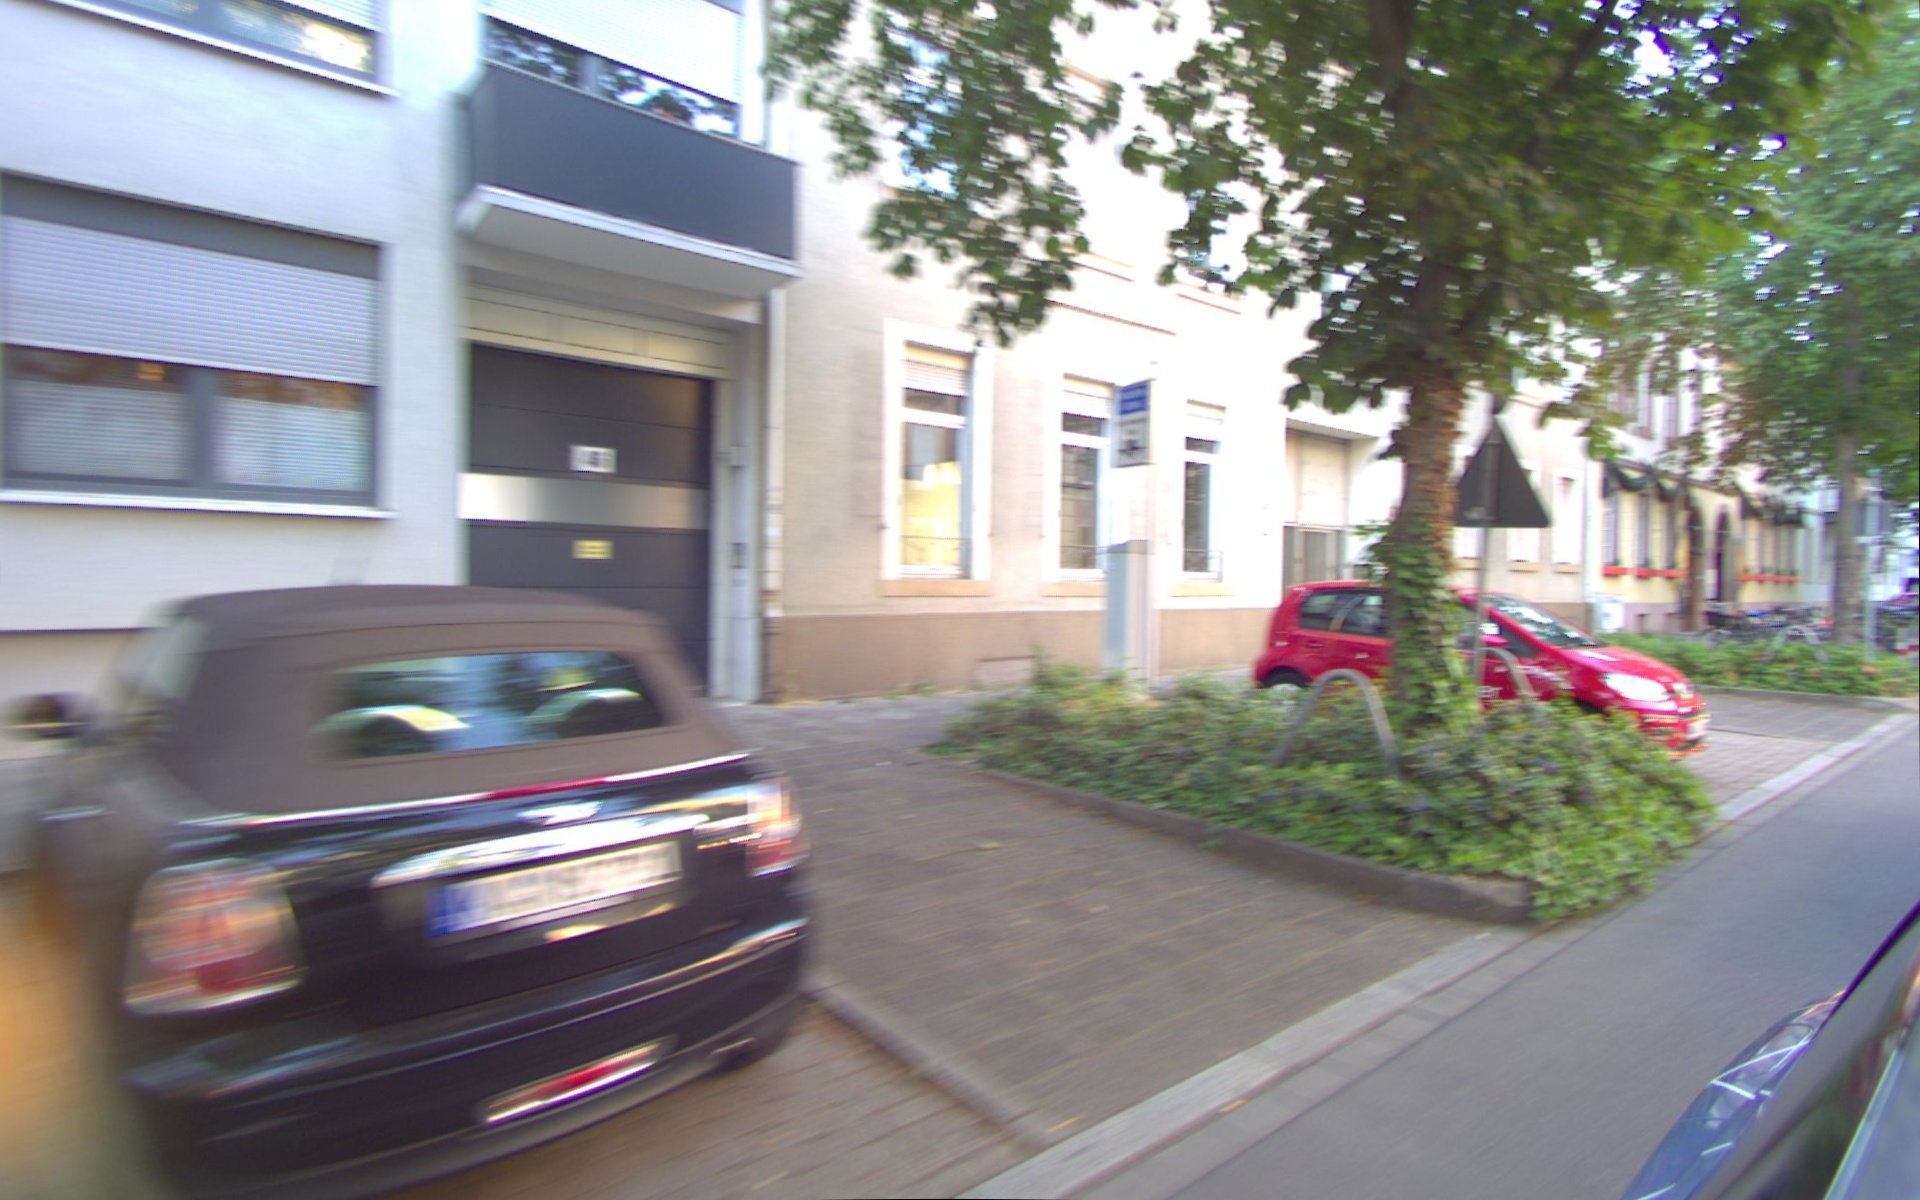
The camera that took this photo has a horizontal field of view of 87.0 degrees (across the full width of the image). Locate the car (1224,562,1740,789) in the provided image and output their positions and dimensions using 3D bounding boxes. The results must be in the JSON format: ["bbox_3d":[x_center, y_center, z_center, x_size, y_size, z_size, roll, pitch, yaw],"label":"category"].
[{"bbox_3d":[4.433,0.477,8.996,1.725,1.572,3.727,-1,1,-42],"label":"car"}]

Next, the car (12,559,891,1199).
[{"bbox_3d":[-2.124,0.605,3.537,1.685,1.428,3.839,-1,3,-44],"label":"car"}]
